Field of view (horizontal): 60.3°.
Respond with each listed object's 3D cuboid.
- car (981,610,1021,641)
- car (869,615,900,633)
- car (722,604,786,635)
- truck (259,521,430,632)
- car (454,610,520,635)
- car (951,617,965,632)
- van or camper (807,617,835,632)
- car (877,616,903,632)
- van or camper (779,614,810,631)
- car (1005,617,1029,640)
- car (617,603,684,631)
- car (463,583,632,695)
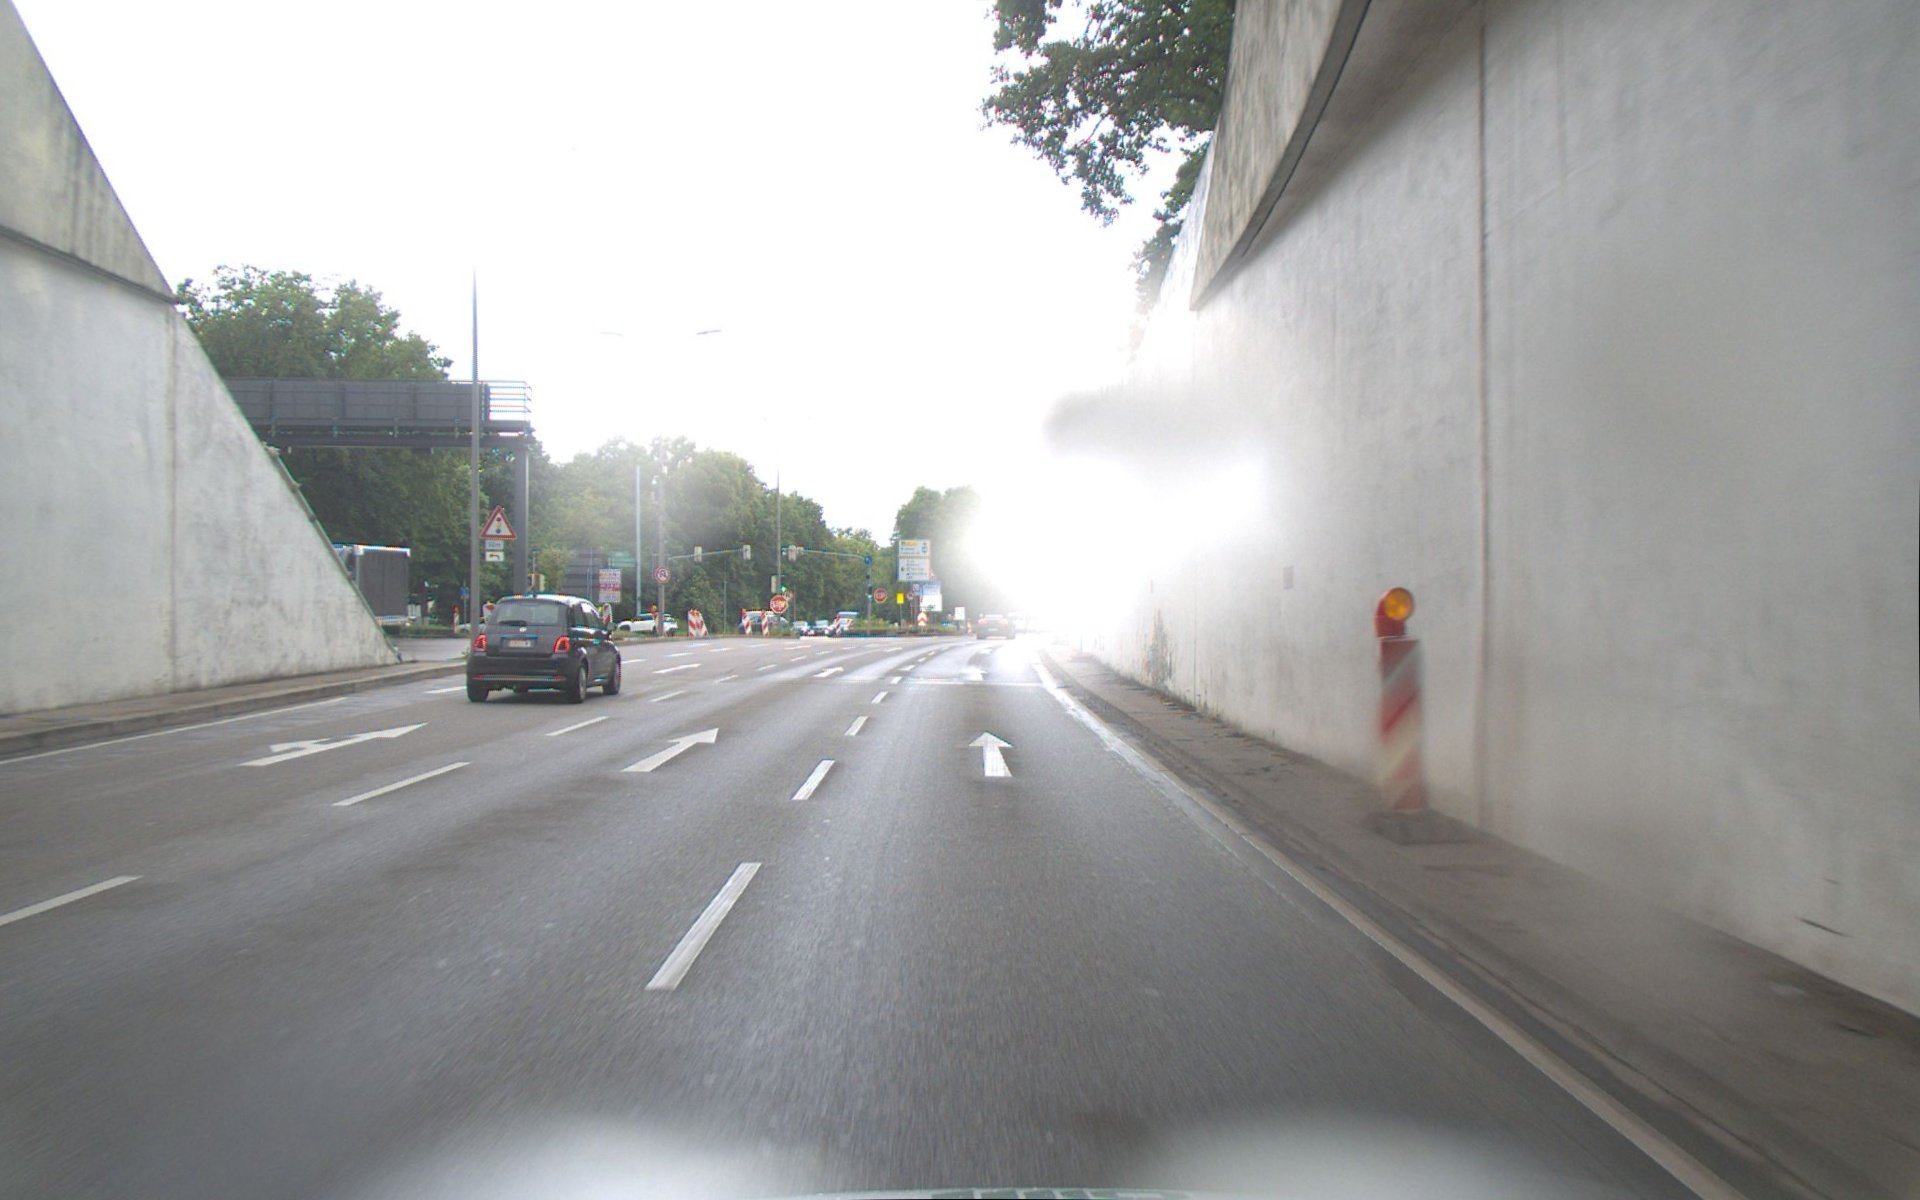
[{"bbox_3d":[2.151,1.377,87.597,1.953,1.473,4.314,2,-2,0],"label":"car"},{"bbox_3d":[-6.297,2.014,138.859,1.967,1.324,4.318,2,-2,6],"label":"car"},{"bbox_3d":[-13.142,1.240,105.475,3.931,1.713,1.885,3,-1,43],"label":"car"},{"bbox_3d":[-20.180,-0.707,54.731,2.740,3.333,7.147,2,0,1],"label":"truck"},{"bbox_3d":[-32.164,1.534,112.521,3.904,1.540,1.898,2,0,1],"label":"car"},{"bbox_3d":[-0.286,3.593,242.689,1.953,2.049,3.998,3,-1,-2],"label":"car"},{"bbox_3d":[-13.544,2.405,161.286,1.967,1.324,4.094,2,-2,6],"label":"van or camper"},{"bbox_3d":[-6.368,2.180,150.551,1.967,1.324,4.316,2,-2,3],"label":"car"},{"bbox_3d":[-14.731,2.014,147.572,1.967,1.324,4.094,2,-2,6],"label":"van or camper"},{"bbox_3d":[5.521,2.766,159.662,1.953,2.049,3.998,3,-1,-2],"label":"car"},{"bbox_3d":[-20.708,1.146,110.705,3.902,1.713,1.899,2,0,13],"label":"car"},{"bbox_3d":[-5.980,0.525,24.343,1.579,1.480,3.572,2,0,-1],"label":"car"}]
